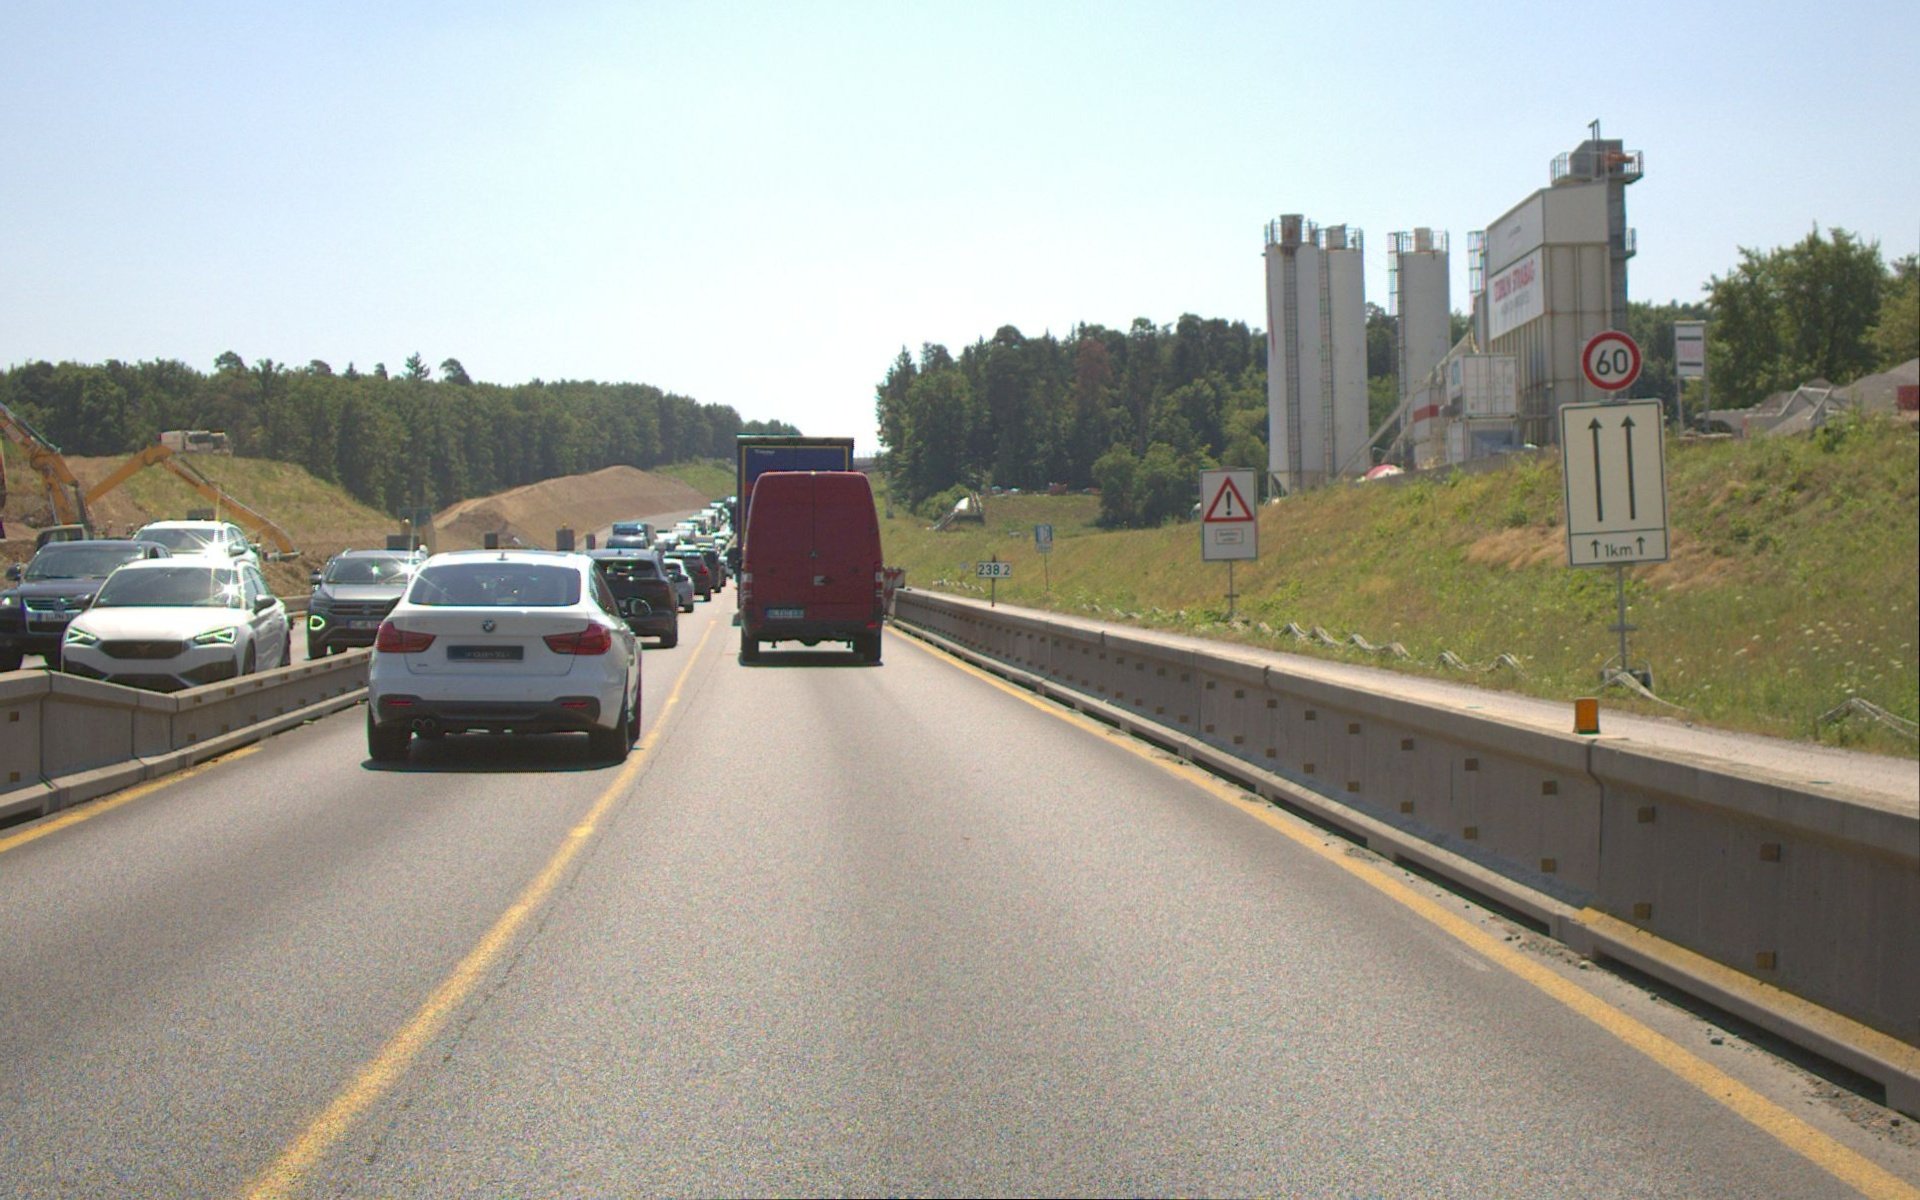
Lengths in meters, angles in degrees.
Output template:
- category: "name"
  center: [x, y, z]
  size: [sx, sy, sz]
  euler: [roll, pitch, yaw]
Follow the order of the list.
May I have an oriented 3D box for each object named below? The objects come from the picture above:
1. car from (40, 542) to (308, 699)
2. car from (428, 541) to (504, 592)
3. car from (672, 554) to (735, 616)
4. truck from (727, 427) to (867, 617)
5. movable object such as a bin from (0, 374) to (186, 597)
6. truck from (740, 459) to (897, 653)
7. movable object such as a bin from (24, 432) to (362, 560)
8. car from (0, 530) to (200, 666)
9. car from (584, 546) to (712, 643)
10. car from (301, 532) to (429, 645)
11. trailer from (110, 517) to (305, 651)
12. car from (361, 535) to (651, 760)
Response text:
- category: "car"
  center: [-7.791, 0.149, 34.498]
  size: [1.815, 1.450, 4.635]
  euler: [-1, 1, -3]
- category: "car"
  center: [-14.833, -1.021, 103.471]
  size: [1.860, 1.495, 4.577]
  euler: [-1, 1, -3]
- category: "car"
  center: [-8.564, -0.536, 115.194]
  size: [1.993, 2.007, 4.001]
  euler: [-1, 1, -3]
- category: "truck"
  center: [-3.745, -1.779, 79.366]
  size: [3.015, 4.138, 8.273]
  euler: [-1, 1, -3]
- category: "movable object such as a bin"
  center: [-31.473, -3.990, 120.963]
  size: [7.636, 7.687, 3.446]
  euler: [-1, 1, -2]
- category: "truck"
  center: [-2.124, -0.650, 50.171]
  size: [2.111, 2.624, 6.485]
  euler: [-1, 1, -3]
- category: "movable object such as a bin"
  center: [-44.406, -6.036, 199.638]
  size: [18.708, 7.206, 3.616]
  euler: [-1, 1, -5]
- category: "car"
  center: [-11.297, -0.064, 44.910]
  size: [1.923, 1.673, 4.718]
  euler: [0, 1, -3]
- category: "car"
  center: [-5.082, -0.118, 56.497]
  size: [1.795, 1.529, 3.931]
  euler: [-1, 1, -1]
- category: "car"
  center: [-8.679, -0.192, 50.381]
  size: [1.693, 1.574, 4.135]
  euler: [-1, 1, -8]
- category: "trailer"
  center: [-11.716, -0.303, 53.877]
  size: [2.130, 1.975, 5.235]
  euler: [-1, 1, -3]
- category: "car"
  center: [-3.320, 0.290, 25.969]
  size: [1.795, 1.529, 5.074]
  euler: [0, 1, -3]
